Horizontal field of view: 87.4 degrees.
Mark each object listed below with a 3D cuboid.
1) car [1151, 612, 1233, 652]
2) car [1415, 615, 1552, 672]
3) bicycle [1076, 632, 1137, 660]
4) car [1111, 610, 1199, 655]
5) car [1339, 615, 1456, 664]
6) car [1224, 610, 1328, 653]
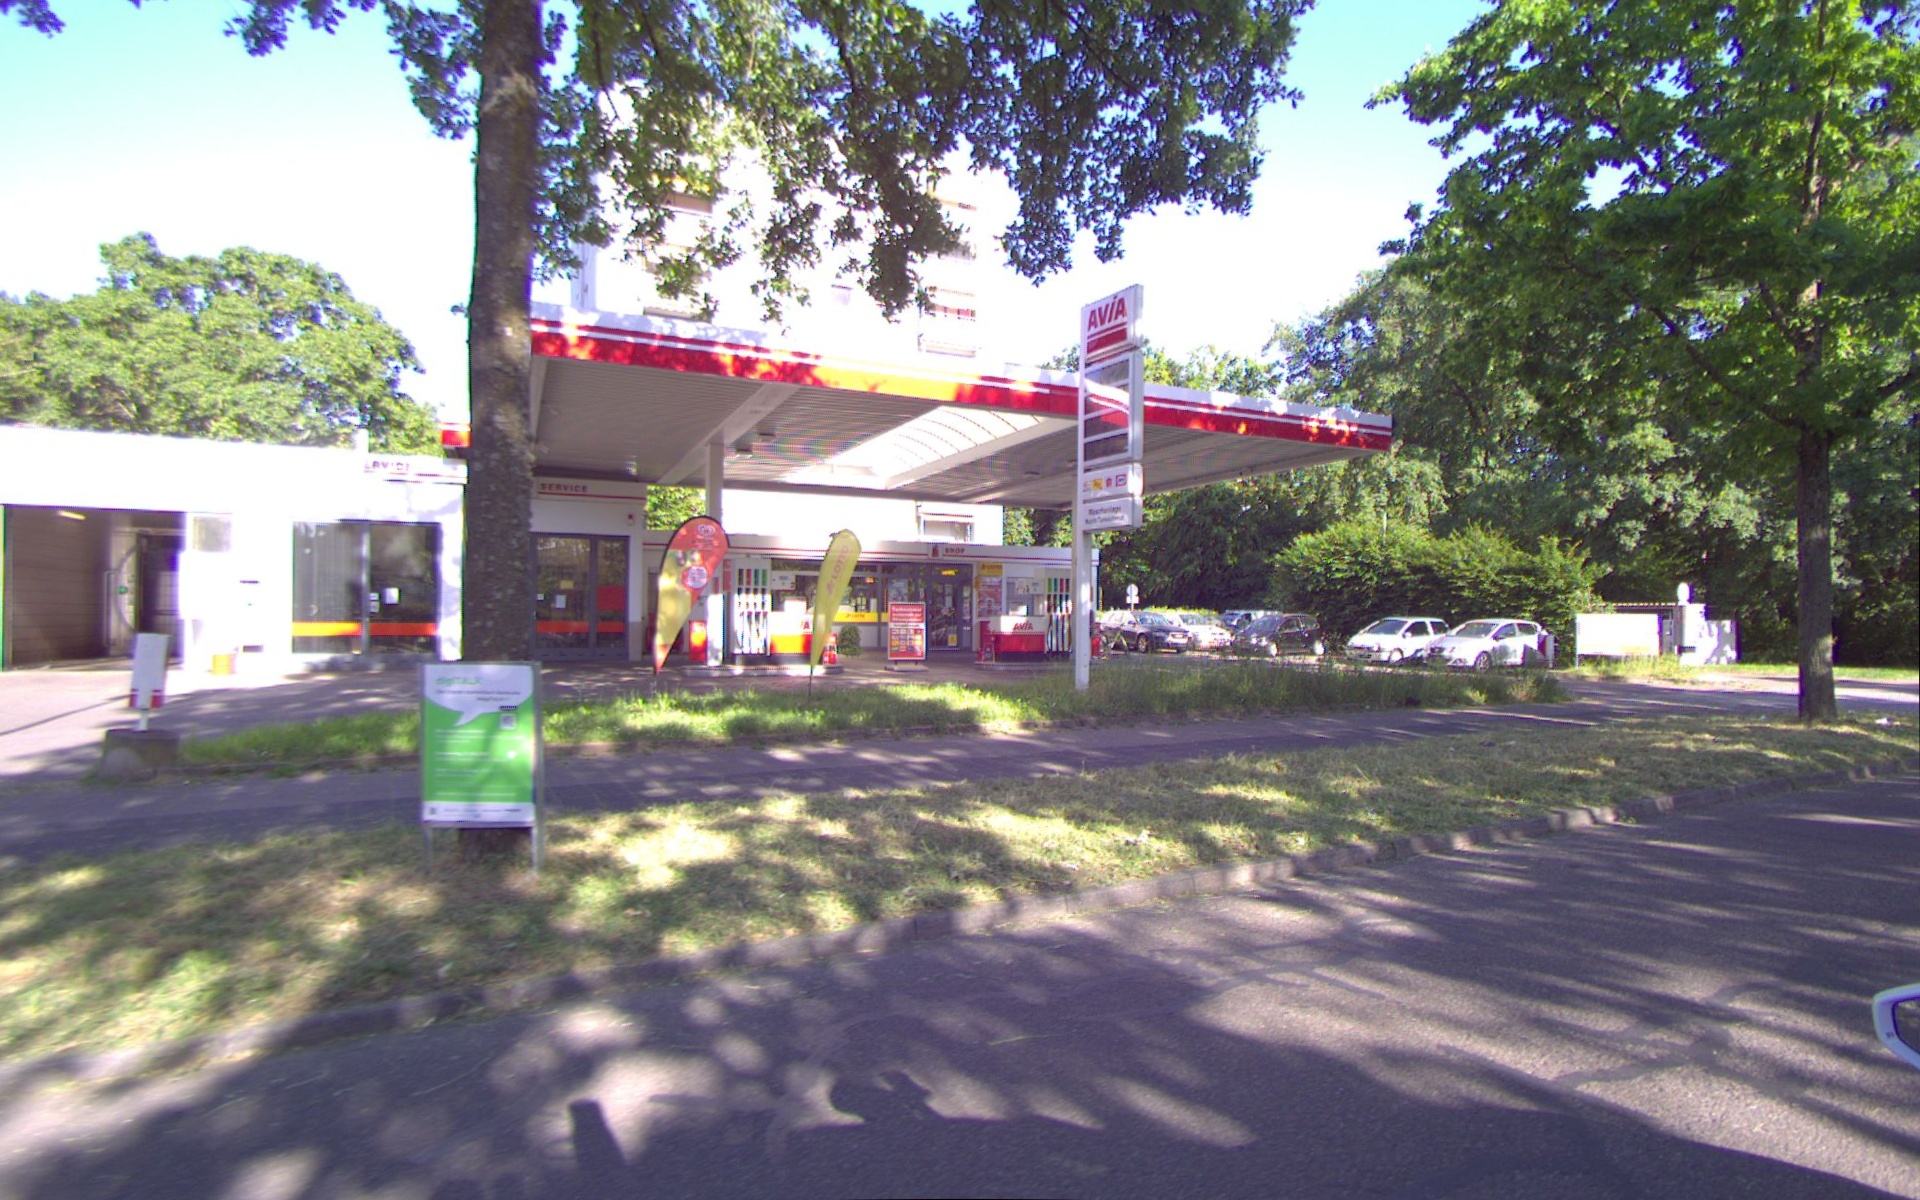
[{"bbox_3d":[8.678,1.178,37.774,1.438,1.335,3.187,1,1,-22],"label":"car"},{"bbox_3d":[14.566,1.180,27.945,3.437,1.441,1.542,1,1,-23],"label":"car"},{"bbox_3d":[4.491,1.410,30.753,1.751,0.818,0.617,1,-1,-16],"label":"bicycle"},{"bbox_3d":[6.924,1.130,35.916,1.562,1.419,3.187,1,1,-22],"label":"car"},{"bbox_3d":[13.123,1.165,30.146,3.159,1.386,1.419,1,1,-23],"label":"car"},{"bbox_3d":[10.690,1.051,33.986,3.159,1.386,1.419,1,1,-23],"label":"car"}]
